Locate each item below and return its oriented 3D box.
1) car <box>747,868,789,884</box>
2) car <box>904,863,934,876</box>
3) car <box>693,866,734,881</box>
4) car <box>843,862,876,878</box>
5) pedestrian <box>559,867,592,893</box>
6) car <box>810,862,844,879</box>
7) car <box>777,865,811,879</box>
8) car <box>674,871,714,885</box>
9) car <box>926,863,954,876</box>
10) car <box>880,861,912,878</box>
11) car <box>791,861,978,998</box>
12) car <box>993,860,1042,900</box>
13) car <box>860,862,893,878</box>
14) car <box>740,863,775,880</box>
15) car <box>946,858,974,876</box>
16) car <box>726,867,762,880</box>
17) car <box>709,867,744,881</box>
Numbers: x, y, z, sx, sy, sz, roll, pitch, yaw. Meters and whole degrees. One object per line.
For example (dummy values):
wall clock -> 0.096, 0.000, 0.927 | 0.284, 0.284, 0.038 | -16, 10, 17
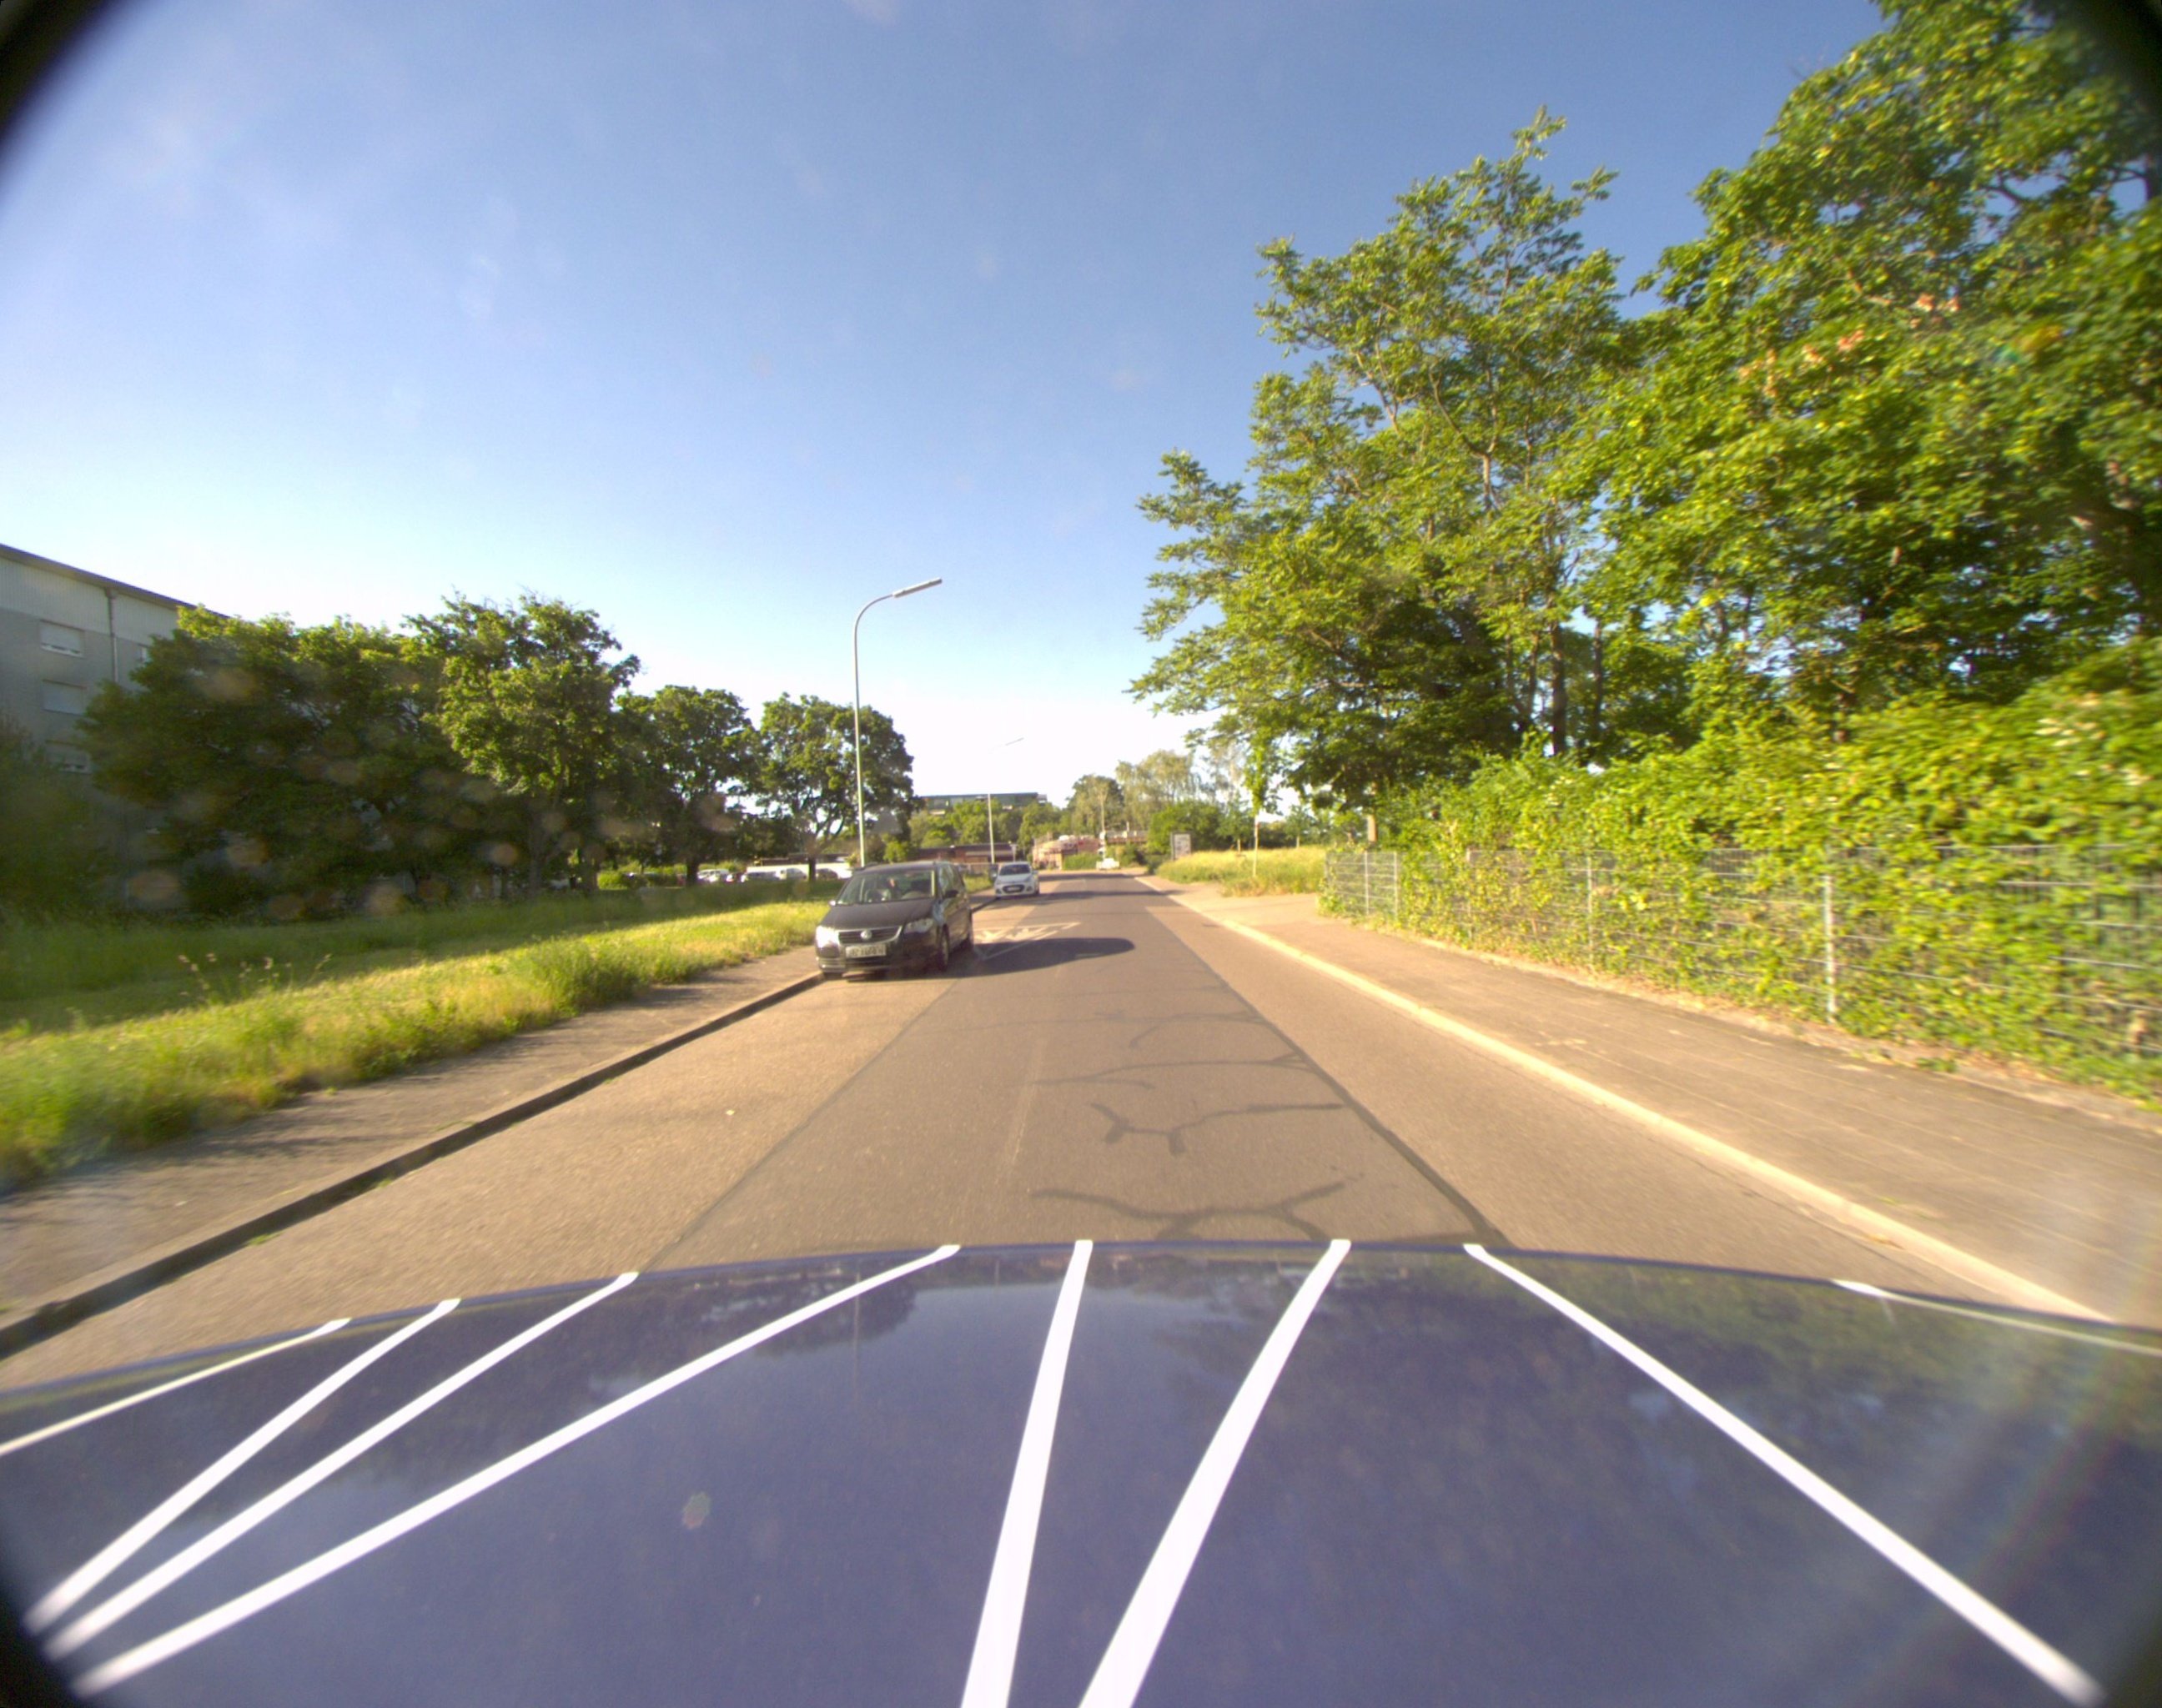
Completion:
car -> -33.446, 2.326, 81.161 | 3.632, 1.515, 2.002 | -2, 0, 18
car -> -18.885, 1.798, 88.719 | 1.862, 1.461, 4.004 | -2, 0, 14
car -> -46.967, 2.464, 97.325 | 1.953, 1.735, 4.709 | -2, 0, 18
car -> -26.290, 1.919, 90.432 | 1.953, 1.763, 4.004 | -2, 0, 14
pedestrian -> -40.876, 2.075, 61.463 | 1.490, 2.019, 1.699 | -2, 0, 3
car -> -30.778, 2.030, 92.067 | 1.953, 1.763, 4.003 | -2, 2, 14
car -> -35.168, 2.239, 93.228 | 1.953, 1.552, 4.004 | -2, 0, 14
car -> -42.999, 2.682, 84.458 | 3.632, 1.442, 2.002 | -2, 0, 18
car -> -16.220, 1.759, 87.589 | 1.779, 1.316, 4.003 | -2, 0, 11
car -> -21.484, 1.761, 88.476 | 1.858, 1.763, 4.004 | -2, 0, 14
car -> -2.847, 0.996, 12.110 | 1.844, 1.642, 4.468 | -3, 0, -2
car -> -2.650, 1.059, 32.400 | 1.656, 1.471, 3.916 | -4, 0, 0
car -> -23.976, 1.834, 89.082 | 1.953, 1.763, 4.004 | -2, 0, 14
car -> -40.191, 2.170, 94.612 | 1.997, 2.002, 4.003 | -2, 0, 12
car -> -13.870, 1.462, 87.219 | 1.954, 1.849, 4.002 | -2, 0, 8
car -> -42.343, 2.431, 95.522 | 1.953, 1.552, 4.004 | -2, 0, 14
car -> -44.802, 2.511, 96.177 | 1.798, 1.552, 4.004 | -2, 0, 14
